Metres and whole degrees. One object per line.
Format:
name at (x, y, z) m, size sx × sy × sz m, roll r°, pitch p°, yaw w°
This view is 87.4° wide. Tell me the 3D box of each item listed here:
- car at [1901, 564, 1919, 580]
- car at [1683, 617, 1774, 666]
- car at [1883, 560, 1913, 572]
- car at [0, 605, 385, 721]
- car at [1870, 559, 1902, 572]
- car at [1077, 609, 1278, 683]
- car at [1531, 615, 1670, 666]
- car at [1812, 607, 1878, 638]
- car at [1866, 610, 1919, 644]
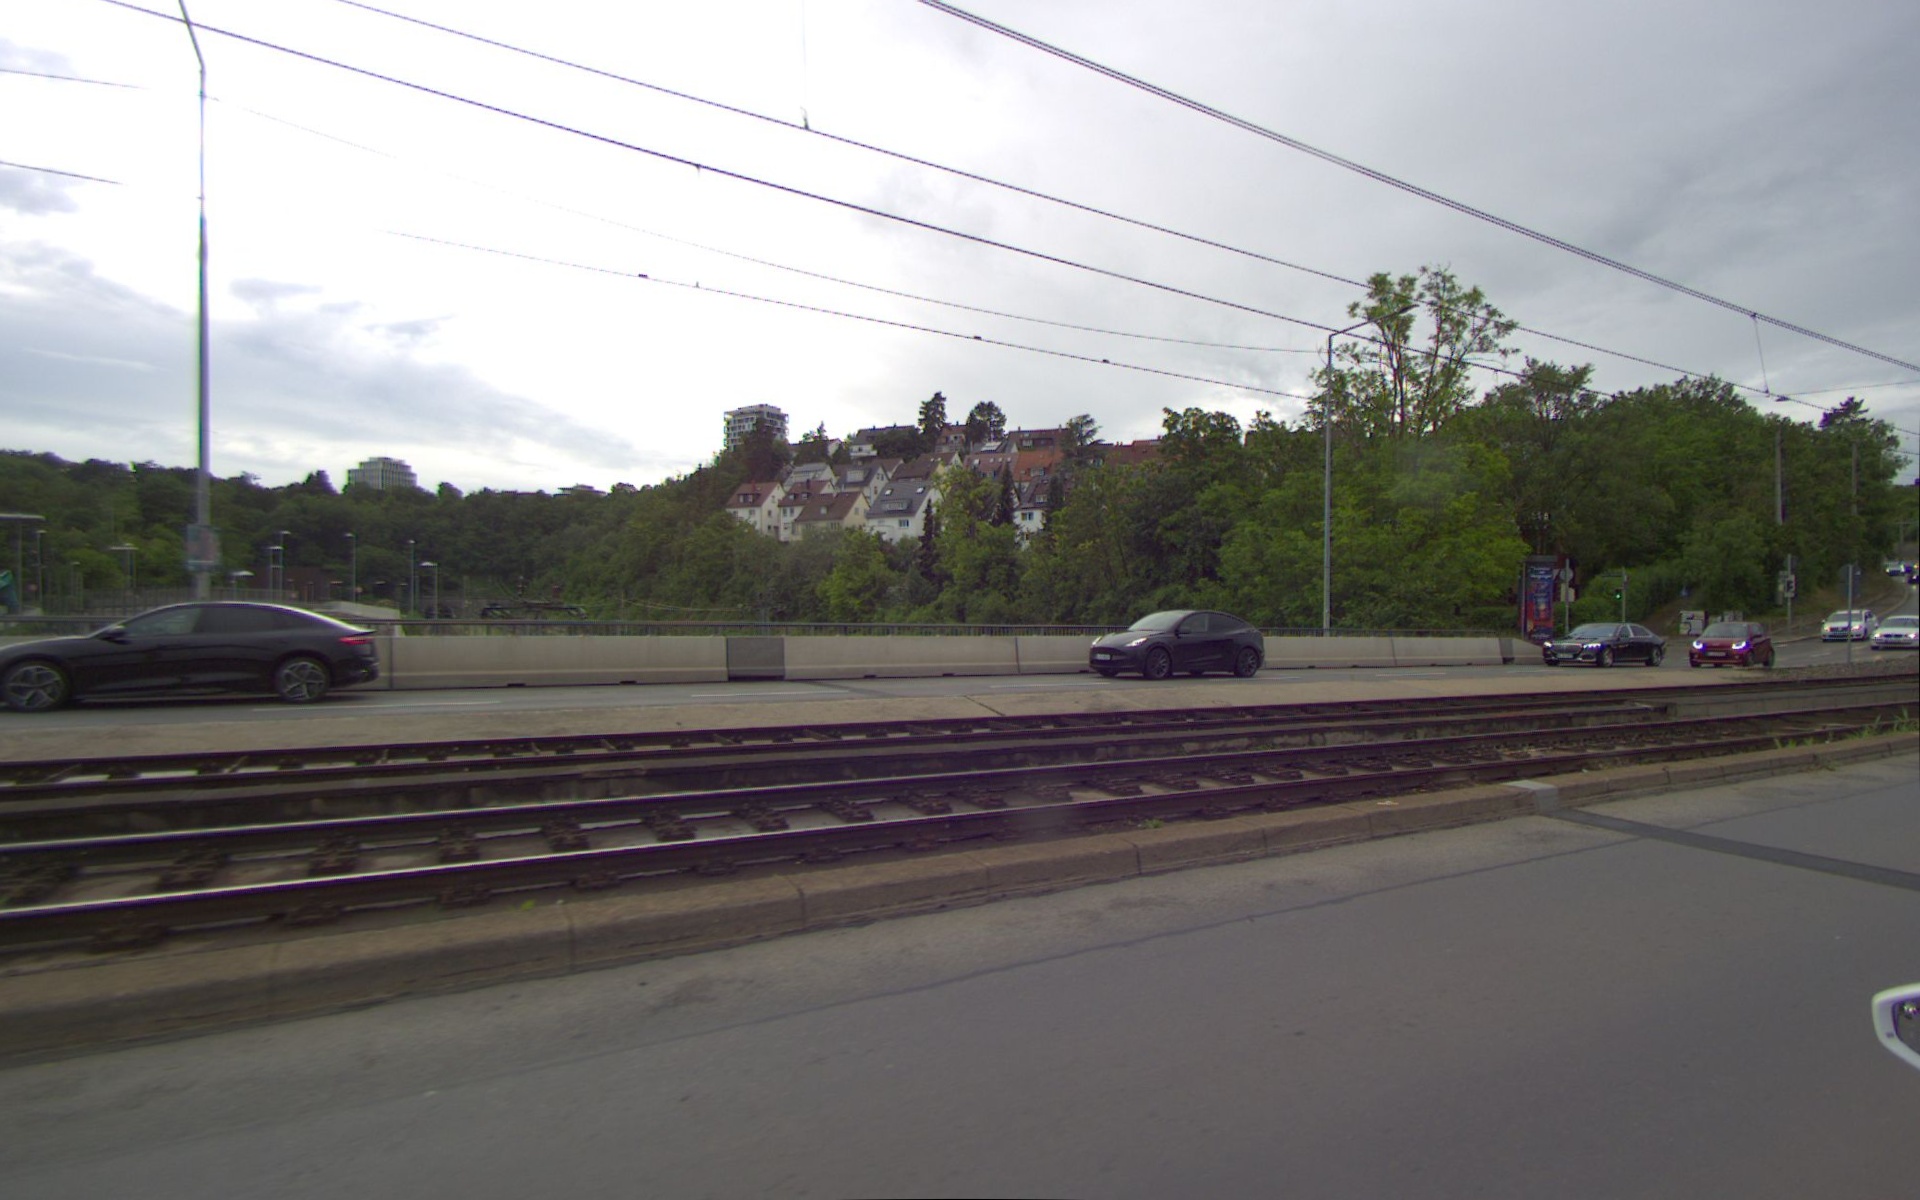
car at (97.409, -2.884, 102.445) m, size 1.695 × 1.478 × 4.257 m, roll -2°, pitch 1°, yaw 38°
car at (25.827, 1.371, 33.739) m, size 2.986 × 1.513 × 1.591 m, roll -1°, pitch -1°, yaw -34°
car at (116.165, -4.216, 124.481) m, size 1.608 × 1.403 × 3.889 m, roll -3°, pitch 0°, yaw 26°
car at (-11.004, 0.822, 14.494) m, size 4.685 × 1.455 × 1.808 m, roll 0°, pitch 0°, yaw -30°
car at (110.142, -4.146, 119.492) m, size 1.793 × 1.398 × 4.695 m, roll -2°, pitch 1°, yaw 30°
car at (5.231, 1.036, 23.955) m, size 4.677 × 1.618 × 1.887 m, roll 0°, pitch -1°, yaw -31°
car at (21.966, 1.402, 34.410) m, size 5.125 × 1.618 × 1.959 m, roll 2°, pitch -2°, yaw -31°
car at (46.016, 1.168, 52.196) m, size 4.489 × 1.535 × 1.807 m, roll 1°, pitch -1°, yaw -38°
car at (42.677, 1.241, 45.546) m, size 4.454 × 1.456 × 1.716 m, roll 2°, pitch -2°, yaw -39°
